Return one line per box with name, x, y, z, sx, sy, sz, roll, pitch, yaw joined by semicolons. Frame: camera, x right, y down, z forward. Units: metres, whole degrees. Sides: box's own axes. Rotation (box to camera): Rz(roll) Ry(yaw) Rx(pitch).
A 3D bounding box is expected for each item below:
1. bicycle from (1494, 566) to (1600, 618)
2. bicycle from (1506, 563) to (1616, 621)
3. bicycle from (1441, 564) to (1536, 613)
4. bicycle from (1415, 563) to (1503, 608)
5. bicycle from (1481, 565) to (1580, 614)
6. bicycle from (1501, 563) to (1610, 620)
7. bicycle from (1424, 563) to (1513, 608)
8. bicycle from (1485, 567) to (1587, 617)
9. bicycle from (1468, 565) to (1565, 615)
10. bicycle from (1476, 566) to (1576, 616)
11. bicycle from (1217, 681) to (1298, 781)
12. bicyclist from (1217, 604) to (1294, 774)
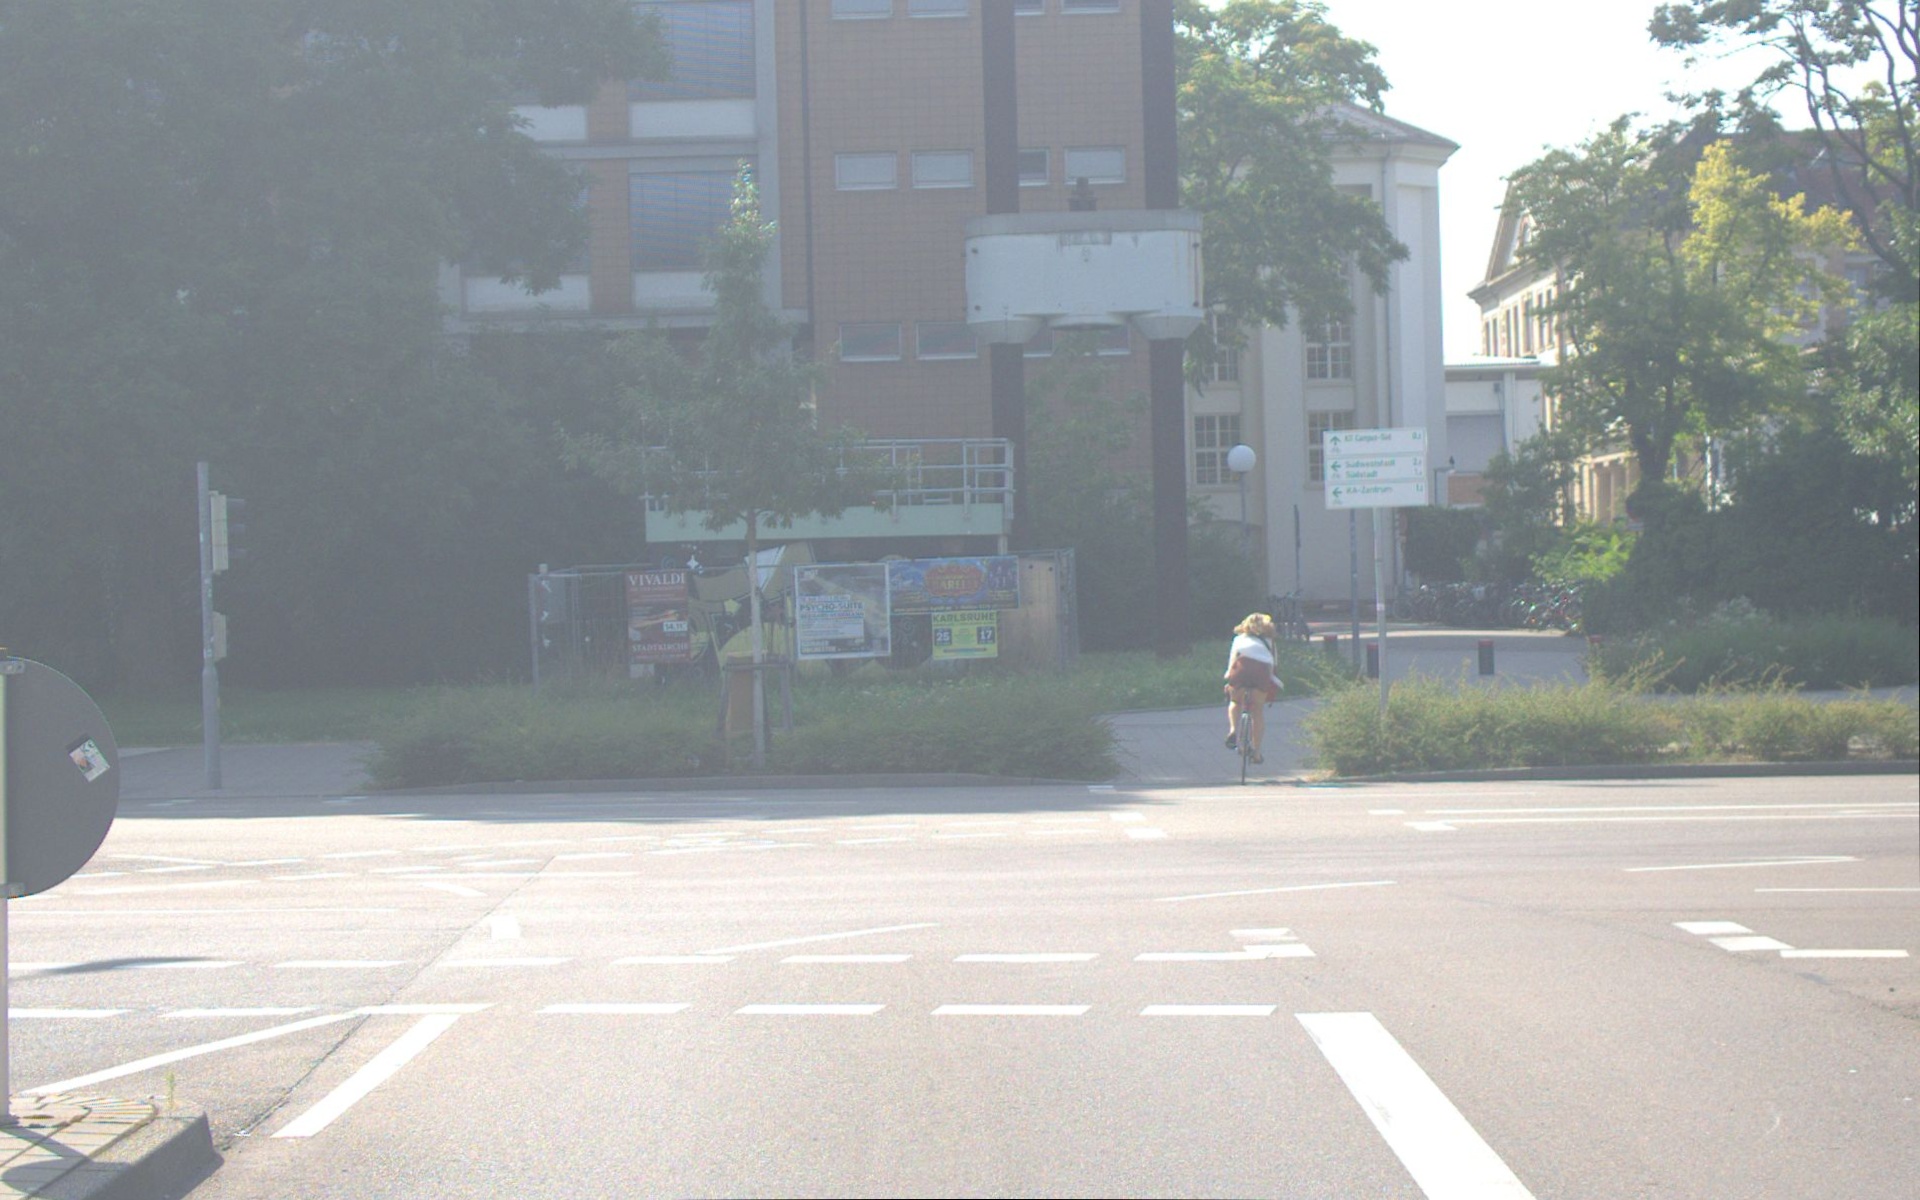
bicycle;14.042;-0.198;82.282;2.427;1.219;0.720;0;0;5
bicycle;13.734;-0.192;78.616;2.427;1.314;0.720;0;0;5
bicycle;13.866;-0.308;90.226;2.427;1.277;0.720;0;0;5
bicycle;14.211;-0.423;98.002;2.427;1.276;0.720;0;0;5
bicycle;14.482;-0.269;87.379;2.427;1.225;0.720;0;0;5
bicycle;13.811;-0.205;79.749;2.427;1.314;0.720;0;0;5
bicycle;14.306;-0.412;96.819;2.427;1.258;0.720;0;0;5
bicycle;14.302;-0.208;85.406;2.427;1.230;0.720;0;0;5
bicycle;14.392;-0.251;88.969;2.427;1.277;0.720;0;0;5
bicycle;14.218;-0.230;86.347;2.427;1.235;0.720;0;0;5
bicycle;2.865;1.248;33.044;0.673;0.876;1.400;-2;0;8
bicyclist;2.857;0.847;33.192;0.650;1.596;0.919;-2;0;8
